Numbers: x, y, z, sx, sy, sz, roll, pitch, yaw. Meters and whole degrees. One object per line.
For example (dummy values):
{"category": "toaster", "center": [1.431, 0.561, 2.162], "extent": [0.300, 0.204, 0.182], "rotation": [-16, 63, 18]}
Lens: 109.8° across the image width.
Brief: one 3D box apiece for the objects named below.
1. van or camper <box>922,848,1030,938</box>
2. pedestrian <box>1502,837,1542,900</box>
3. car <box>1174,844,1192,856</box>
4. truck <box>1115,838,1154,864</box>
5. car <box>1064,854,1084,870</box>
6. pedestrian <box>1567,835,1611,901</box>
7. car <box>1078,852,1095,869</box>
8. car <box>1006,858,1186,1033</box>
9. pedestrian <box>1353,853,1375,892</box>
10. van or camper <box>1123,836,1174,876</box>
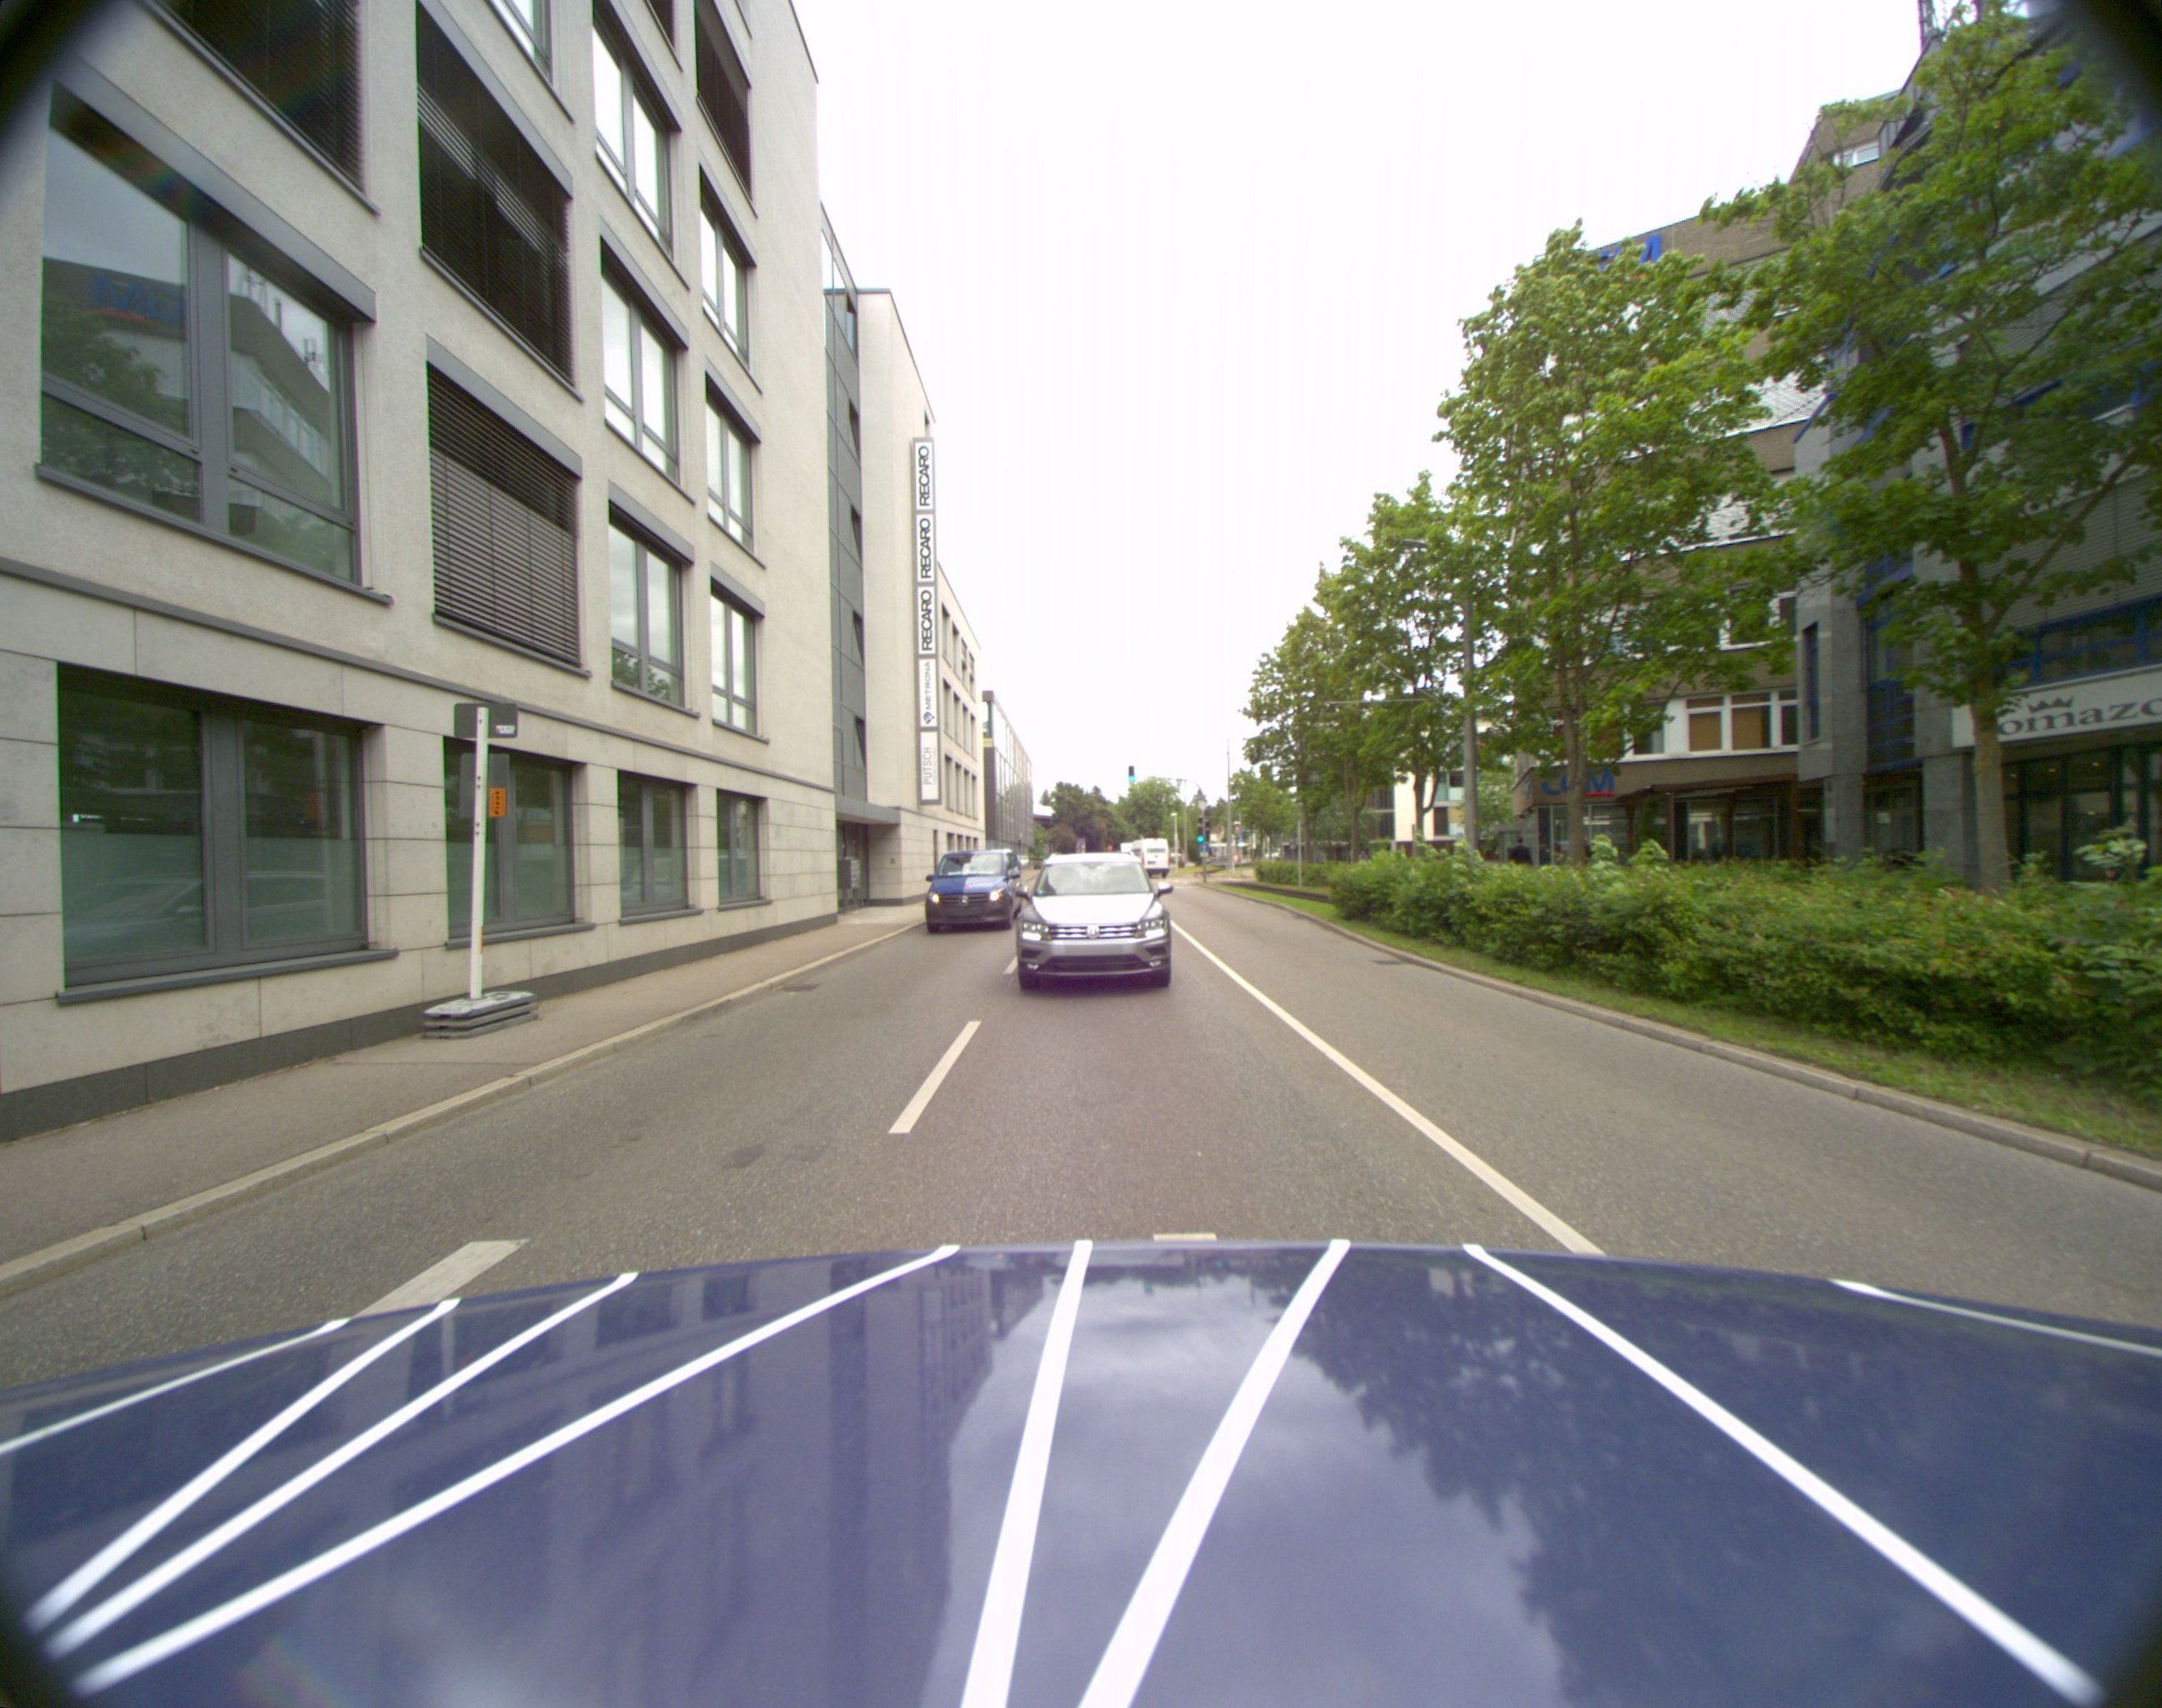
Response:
{"category": "van or camper", "center": [-2.439, 0.831, 18.920], "extent": [1.864, 1.900, 5.032], "rotation": [-1, 0, 1]}
{"category": "pedestrian", "center": [13.821, 0.443, 23.834], "extent": [0.816, 1.912, 0.731], "rotation": [-2, 1, 0]}
{"category": "car", "center": [18.173, -0.684, 135.080], "extent": [1.995, 2.002, 4.006], "rotation": [-1, 1, 24]}
{"category": "truck", "center": [8.219, -0.476, 115.557], "extent": [2.317, 3.626, 8.024], "rotation": [-1, 1, 31]}
{"category": "car", "center": [-0.661, 0.788, 74.698], "extent": [1.890, 1.483, 4.000], "rotation": [-4, 0, 1]}
{"category": "pedestrian", "center": [14.814, 0.403, 22.178], "extent": [0.776, 1.883, 0.731], "rotation": [-2, 1, 0]}
{"category": "car", "center": [0.755, 0.798, 94.860], "extent": [1.998, 2.002, 4.000], "rotation": [-2, 1, 1]}
{"category": "car", "center": [0.186, 0.942, 9.965], "extent": [1.798, 1.716, 4.458], "rotation": [-1, 0, 1]}
{"category": "pedestrian", "center": [13.286, 0.870, 35.720], "extent": [0.680, 1.795, 0.731], "rotation": [-2, 1, -4]}
{"category": "van or camper", "center": [4.878, 0.108, 56.048], "extent": [2.115, 2.718, 6.145], "rotation": [-2, 1, -11]}
